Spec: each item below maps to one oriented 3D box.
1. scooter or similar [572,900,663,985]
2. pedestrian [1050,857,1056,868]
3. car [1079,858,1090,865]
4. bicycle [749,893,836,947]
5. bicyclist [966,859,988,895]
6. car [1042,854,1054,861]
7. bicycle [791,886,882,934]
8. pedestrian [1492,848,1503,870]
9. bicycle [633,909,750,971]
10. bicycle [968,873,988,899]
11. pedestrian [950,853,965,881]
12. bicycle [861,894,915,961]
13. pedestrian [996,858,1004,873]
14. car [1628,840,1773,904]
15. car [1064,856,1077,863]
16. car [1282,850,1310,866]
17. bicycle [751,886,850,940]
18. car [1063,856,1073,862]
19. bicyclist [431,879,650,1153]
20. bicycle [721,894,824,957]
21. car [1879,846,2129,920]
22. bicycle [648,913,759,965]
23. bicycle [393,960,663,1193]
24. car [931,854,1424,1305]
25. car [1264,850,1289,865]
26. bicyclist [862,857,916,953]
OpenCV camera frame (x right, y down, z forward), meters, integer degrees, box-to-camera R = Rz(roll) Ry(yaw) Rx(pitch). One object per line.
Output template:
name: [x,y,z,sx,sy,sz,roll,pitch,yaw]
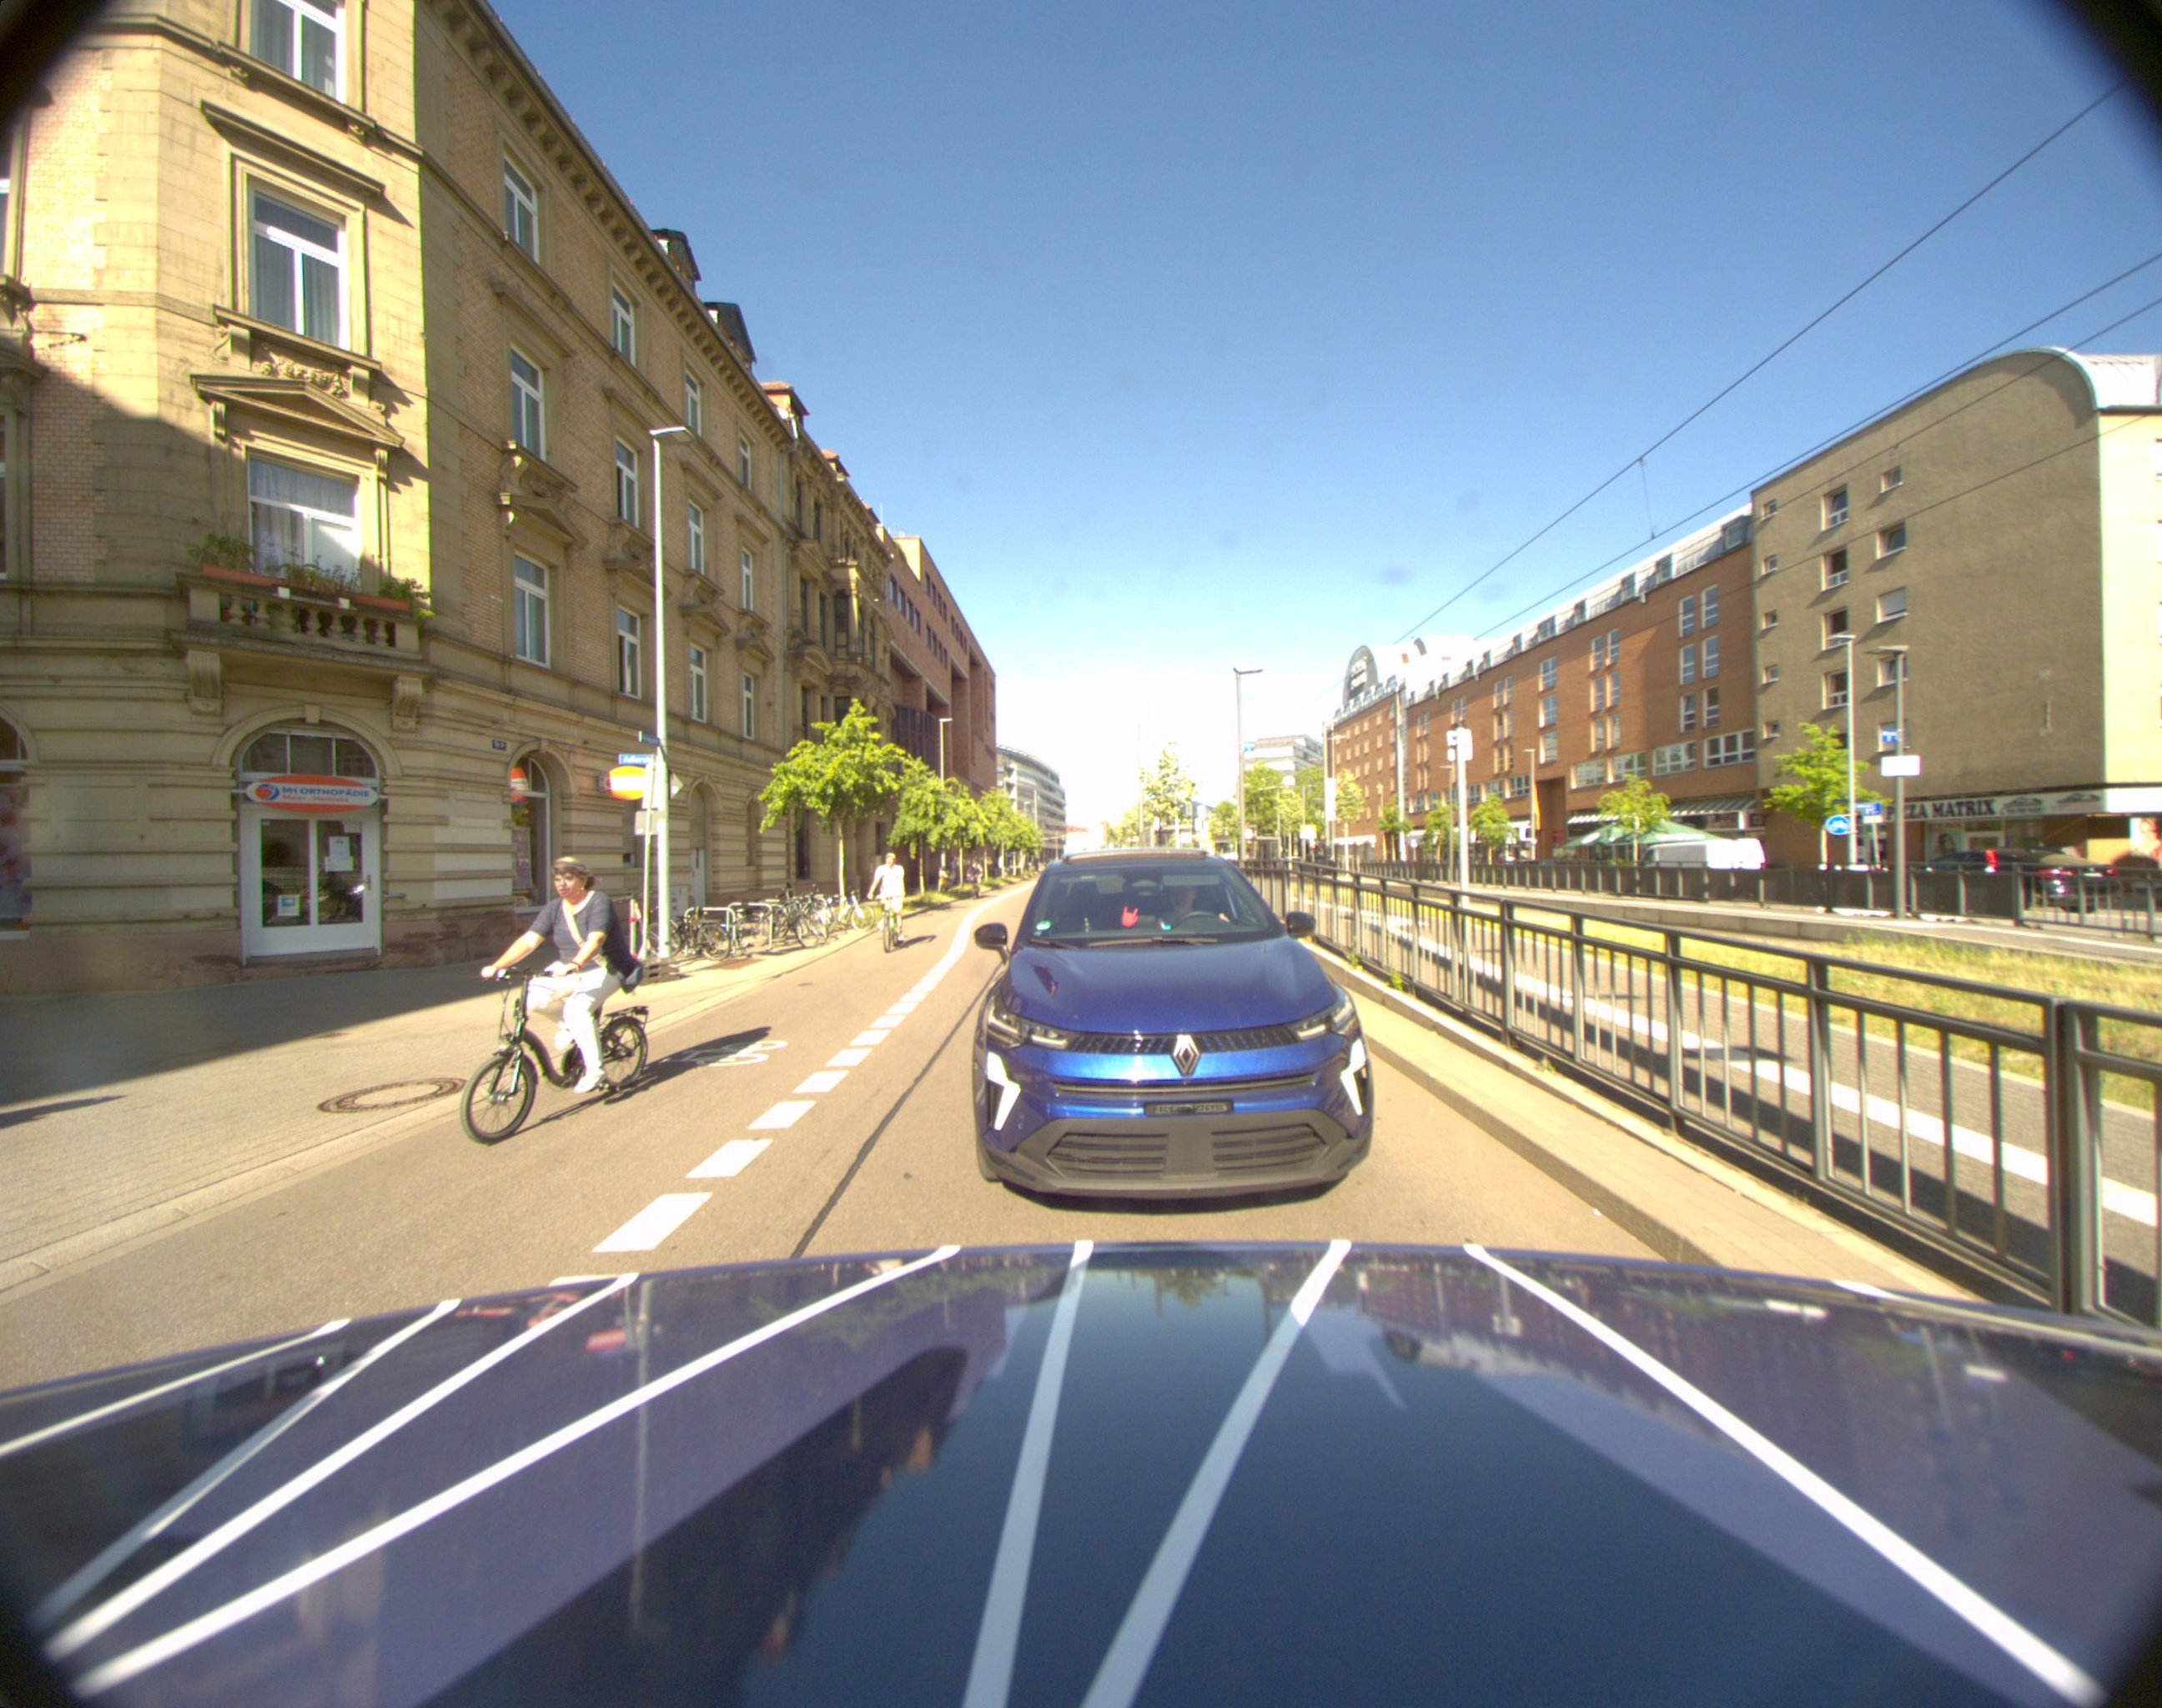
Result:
scooter or similar: [-6.769,1.279,11.100,1.113,1.183,0.419,0,0,8]
pedestrian: [-3.908,1.212,106.857,0.774,1.478,0.686,-1,0,1]
car: [0.728,1.680,172.690,1.882,1.455,4.002,-2,1,8]
bicycle: [-6.131,1.396,16.201,1.603,1.039,0.607,1,0,4]
bicyclist: [-4.755,1.033,34.720,0.755,1.607,0.762,-3,0,4]
car: [-7.551,0.782,174.298,1.882,1.455,4.001,-2,1,7]
bicycle: [-6.024,1.380,18.813,2.001,1.086,0.846,1,0,-9]
pedestrian: [35.610,0.430,64.931,0.622,1.830,0.644,-1,1,-1]
bicycle: [-6.398,1.399,12.505,1.673,0.938,0.607,0,0,8]
bicycle: [-4.690,1.436,34.606,0.578,1.090,1.507,-3,0,3]
pedestrian: [-8.455,0.903,51.924,0.790,1.872,1.106,-1,1,0]
bicycle: [-3.613,1.349,14.334,0.578,1.090,1.507,-3,0,0]
pedestrian: [-7.933,1.146,74.669,0.633,1.478,0.736,-1,1,0]
car: [25.344,0.674,31.420,1.997,2.356,5.649,-1,0,8]
car: [-2.372,1.257,173.803,2.120,1.547,4.003,-1,0,9]
car: [24.080,0.440,85.289,1.998,1.674,3.999,-2,1,1]
bicycle: [-6.452,1.349,17.517,1.999,1.121,0.710,1,0,2]
car: [-3.187,1.282,189.609,1.882,1.455,4.001,-2,1,7]
bicyclist: [-3.388,0.957,4.853,0.659,1.528,0.909,-3,0,0]
bicycle: [-5.929,1.366,14.643,1.727,1.094,0.607,1,0,4]
car: [24.262,0.697,20.238,1.819,1.749,4.000,-1,0,0]
bicycle: [-6.527,1.463,13.173,1.673,0.816,0.607,0,0,7]
bicycle: [-3.388,1.303,4.843,0.558,1.021,1.507,-3,0,0]
car: [0.396,0.861,4.874,1.802,1.596,3.999,-2,1,1]
car: [24.421,0.445,94.959,1.998,1.674,3.999,-2,1,1]
bicyclist: [-3.621,0.939,14.392,0.684,1.718,0.909,-3,0,0]
